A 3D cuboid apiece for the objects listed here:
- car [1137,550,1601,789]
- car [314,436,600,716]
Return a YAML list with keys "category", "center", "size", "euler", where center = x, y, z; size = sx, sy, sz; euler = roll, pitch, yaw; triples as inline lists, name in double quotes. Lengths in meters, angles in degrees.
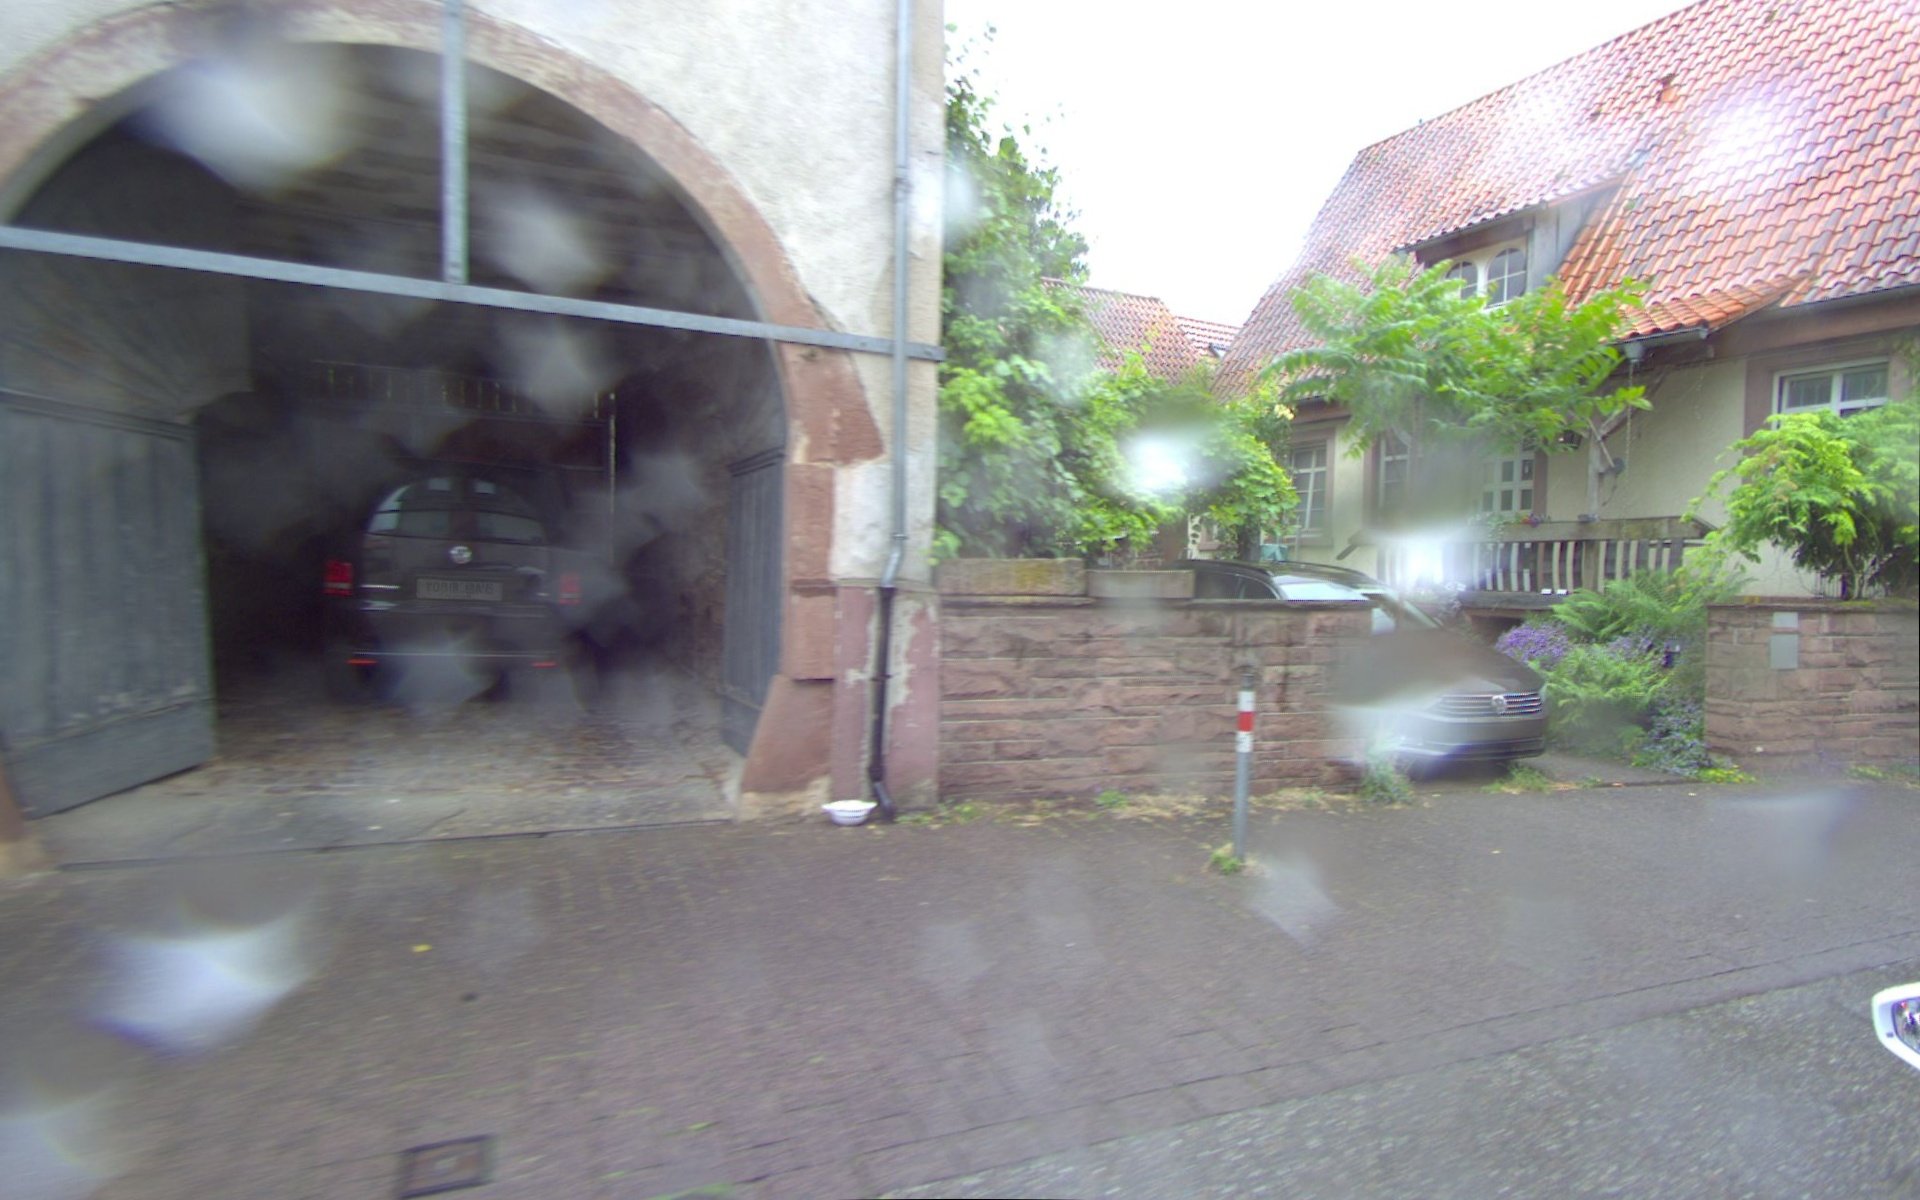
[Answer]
- category: "car"
  center: [3.332, 0.419, 9.149]
  size: [1.708, 1.445, 3.984]
  euler: [2, 6, -17]
- category: "car"
  center: [-4.498, -0.372, 9.314]
  size: [1.860, 1.959, 4.213]
  euler: [1, 6, -24]
